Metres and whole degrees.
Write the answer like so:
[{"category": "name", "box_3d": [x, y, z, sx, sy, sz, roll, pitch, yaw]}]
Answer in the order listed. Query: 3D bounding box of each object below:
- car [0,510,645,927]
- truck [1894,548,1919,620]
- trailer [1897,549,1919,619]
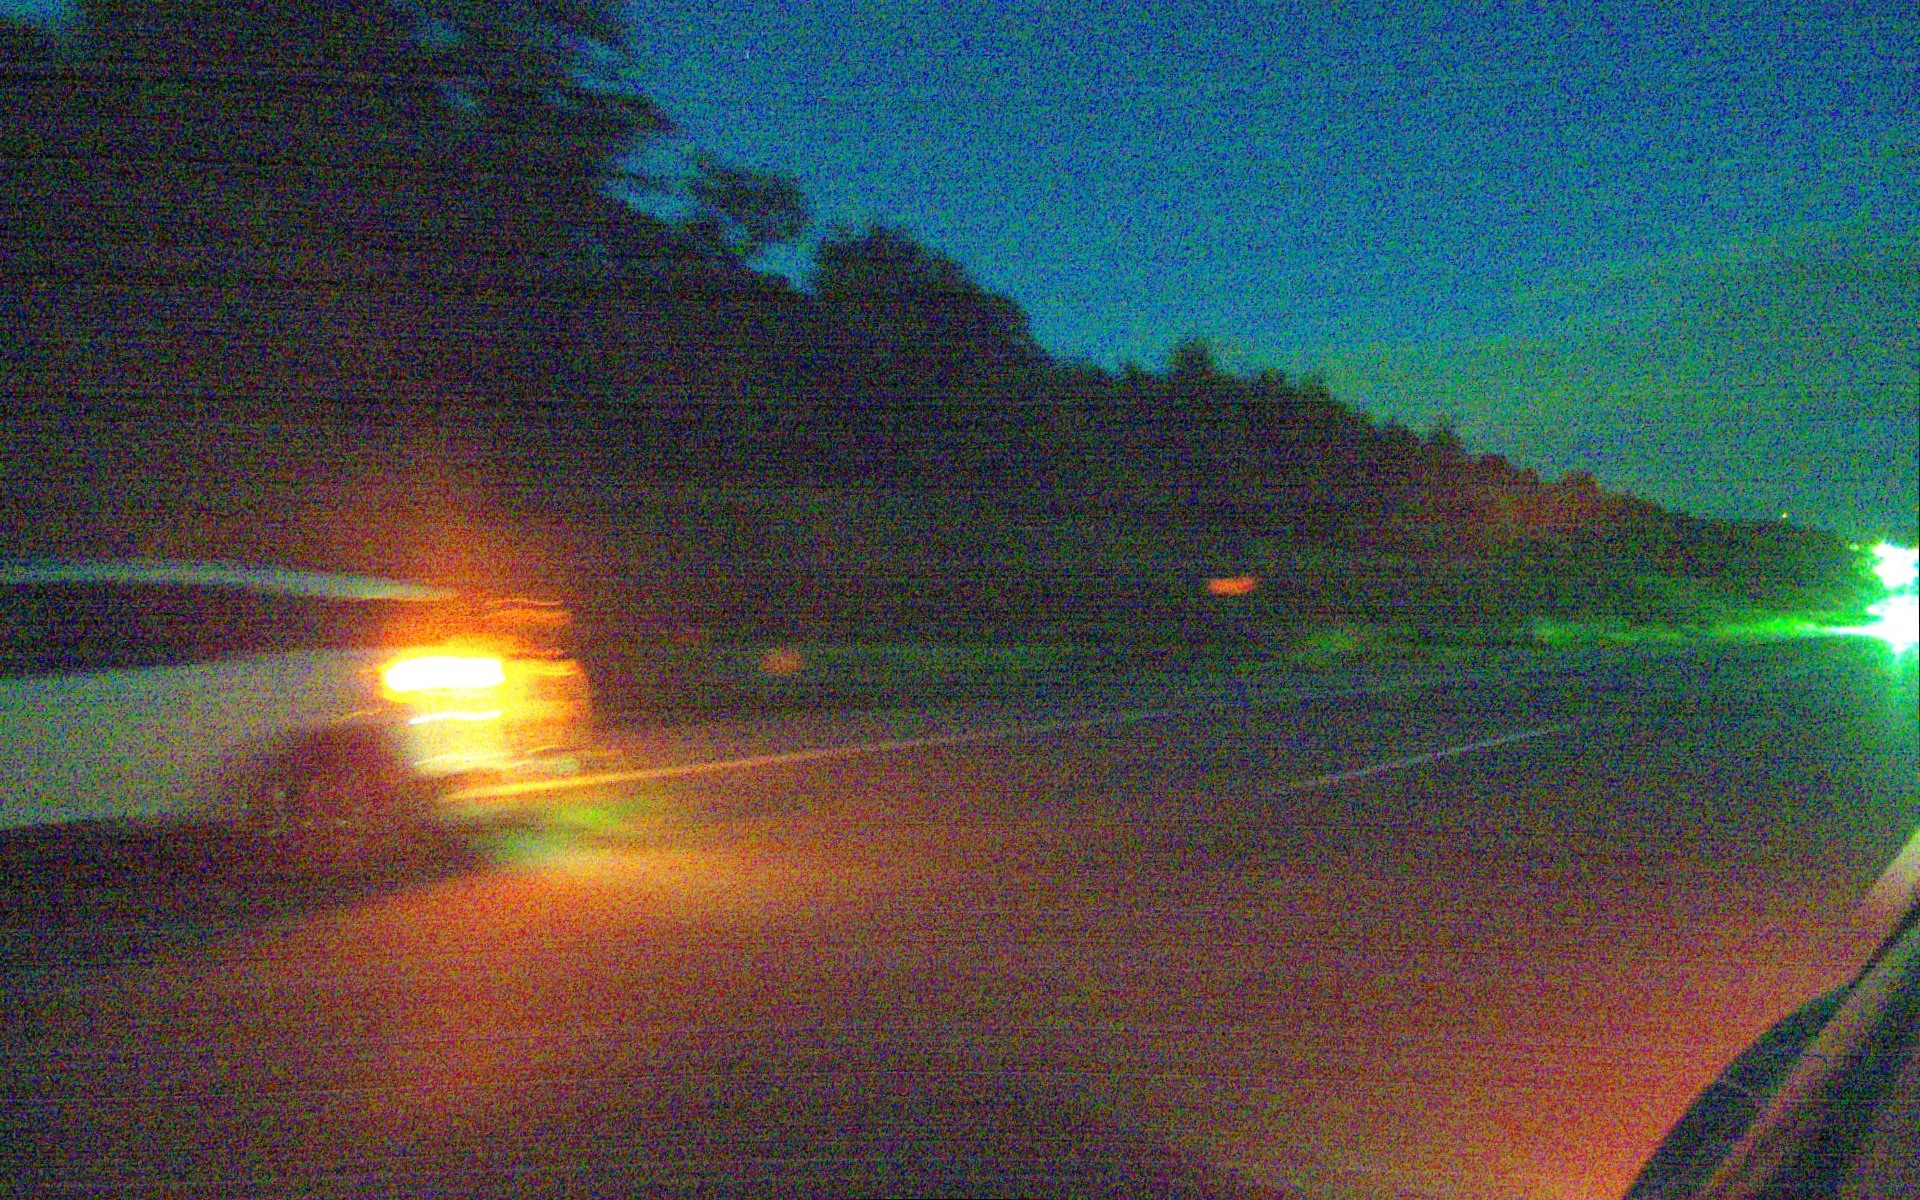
[{"category": "car", "box_3d": [-4.448, 0.481, 5.150, 5.077, 1.739, 1.997, 0, 0, -41]}, {"category": "truck", "box_3d": [62.168, -1.017, 64.677, 6.880, 4.489, 3.339, 0, 0, -45]}, {"category": "trailer", "box_3d": [67.194, -1.066, 69.739, 3.339, 4.489, 13.357, 0, 0, 45]}]
